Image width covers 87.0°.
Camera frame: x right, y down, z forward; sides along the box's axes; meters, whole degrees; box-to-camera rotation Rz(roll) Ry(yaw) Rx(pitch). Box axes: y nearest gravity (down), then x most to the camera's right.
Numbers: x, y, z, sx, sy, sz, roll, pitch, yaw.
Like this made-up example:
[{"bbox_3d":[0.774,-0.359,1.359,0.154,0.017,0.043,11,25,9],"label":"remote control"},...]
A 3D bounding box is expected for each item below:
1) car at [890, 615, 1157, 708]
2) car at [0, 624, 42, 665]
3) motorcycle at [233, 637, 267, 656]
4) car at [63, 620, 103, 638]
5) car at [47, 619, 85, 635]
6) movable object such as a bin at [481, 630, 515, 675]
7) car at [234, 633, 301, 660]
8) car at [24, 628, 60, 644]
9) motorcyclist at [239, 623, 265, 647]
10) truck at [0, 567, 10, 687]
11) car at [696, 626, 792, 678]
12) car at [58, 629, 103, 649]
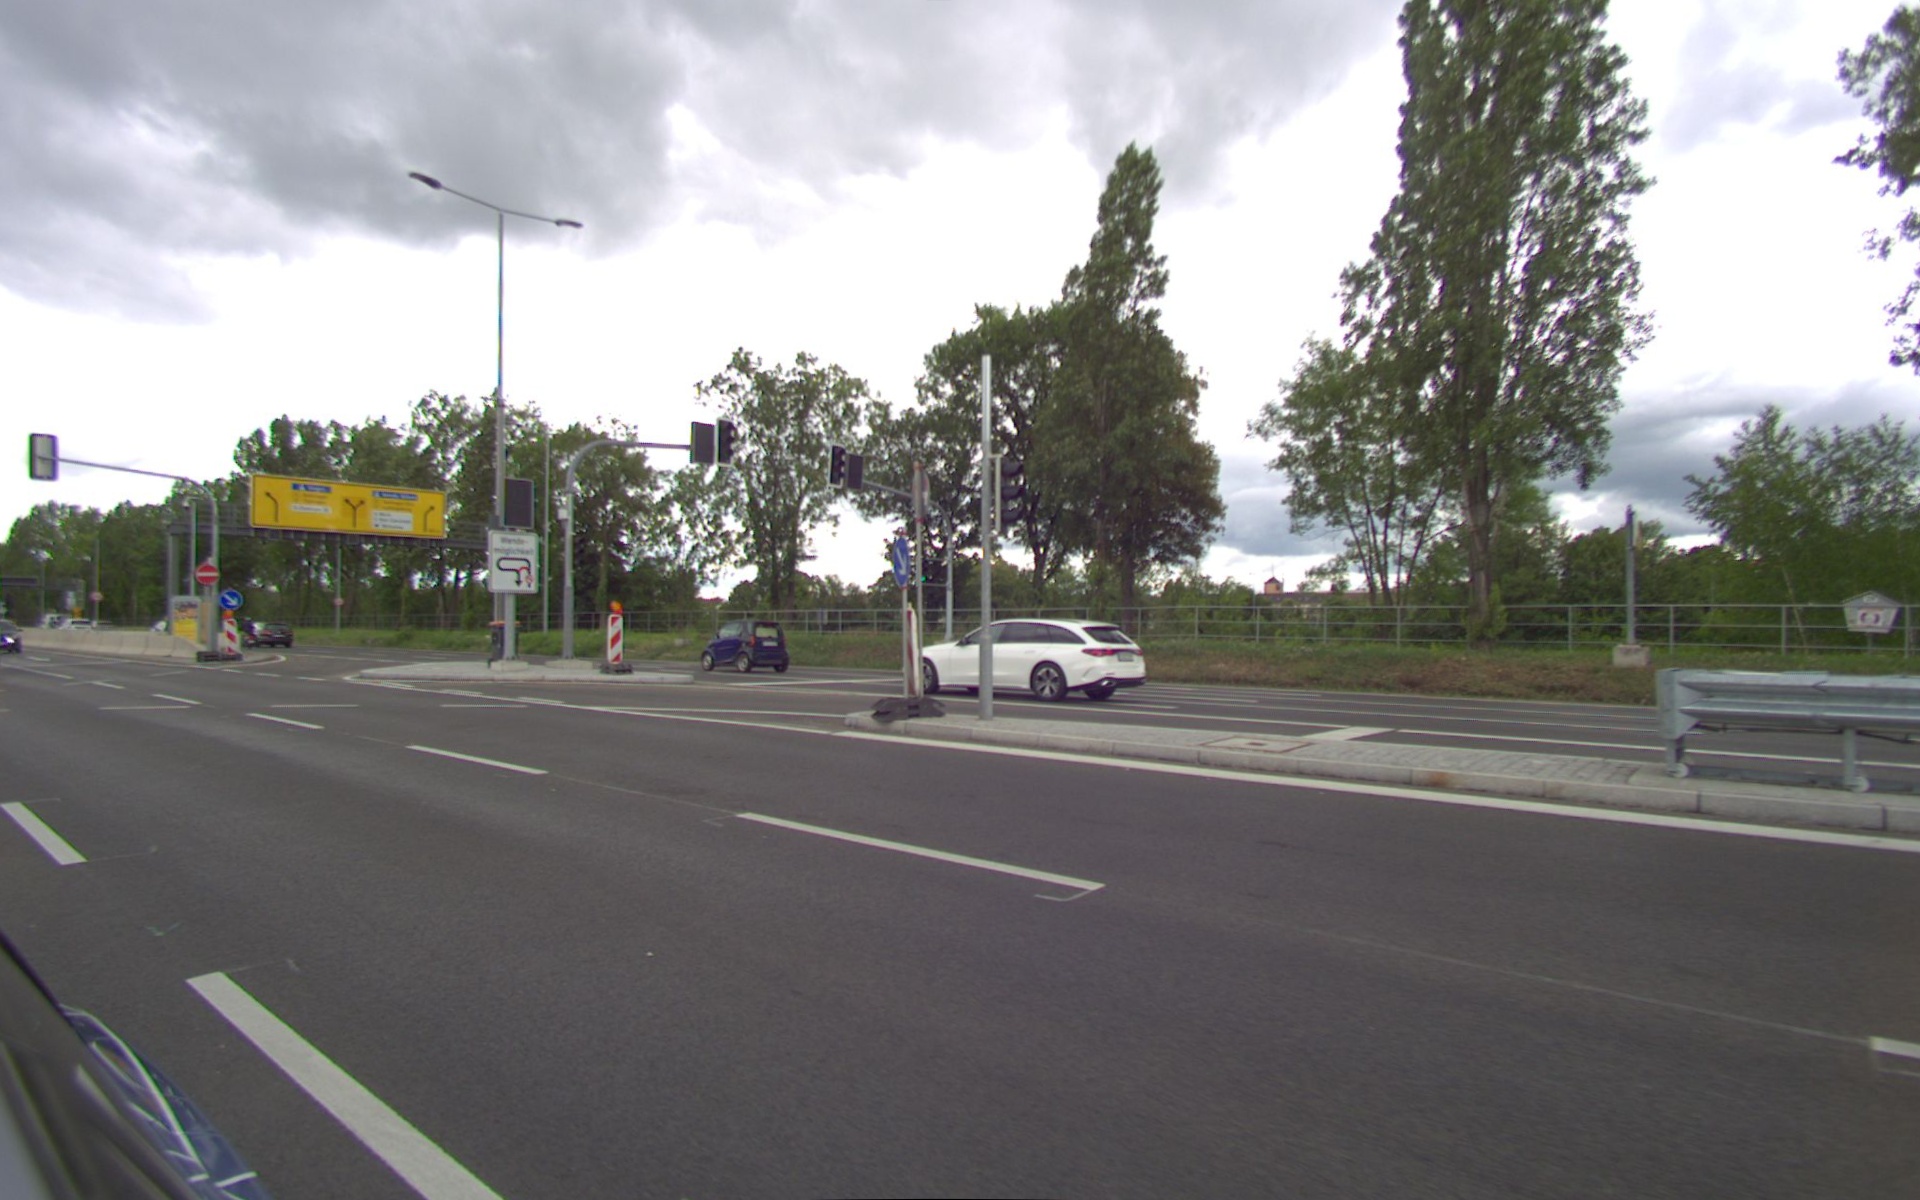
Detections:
[{"bbox_3d":[1.076,1.106,19.003,4.998,1.537,1.680,-2,-4,40],"label":"car"},{"bbox_3d":[-42.839,1.973,45.444,4.143,1.738,1.859,-2,-2,40],"label":"car"},{"bbox_3d":[-36.787,2.383,52.437,2.632,0.946,0.865,-2,-2,41],"label":"motorcycle"},{"bbox_3d":[-78.289,2.603,90.300,4.998,1.537,1.987,-2,-2,40],"label":"car"},{"bbox_3d":[-84.678,2.568,95.857,4.998,1.537,1.987,-2,-2,40],"label":"car"},{"bbox_3d":[-10.847,1.217,23.757,0.622,1.032,0.563,-2,-2,45],"label":"movable object such as a bin"},{"bbox_3d":[-40.591,2.692,59.272,4.998,1.537,1.987,-2,-2,40],"label":"car"},{"bbox_3d":[-90.525,3.526,99.782,4.998,1.537,1.987,-2,-2,40],"label":"car"},{"bbox_3d":[-36.592,1.806,52.275,1.085,1.248,0.865,-2,-2,41],"label":"motorcyclist"},{"bbox_3d":[-30.661,0.831,29.731,12.499,3.163,2.623,-2,-2,40],"label":"truck"},{"bbox_3d":[-6.405,1.533,29.958,2.631,1.487,1.489,-2,-4,41],"label":"car"},{"bbox_3d":[-71.520,3.148,82.267,4.998,1.580,1.987,-2,-2,40],"label":"car"}]
